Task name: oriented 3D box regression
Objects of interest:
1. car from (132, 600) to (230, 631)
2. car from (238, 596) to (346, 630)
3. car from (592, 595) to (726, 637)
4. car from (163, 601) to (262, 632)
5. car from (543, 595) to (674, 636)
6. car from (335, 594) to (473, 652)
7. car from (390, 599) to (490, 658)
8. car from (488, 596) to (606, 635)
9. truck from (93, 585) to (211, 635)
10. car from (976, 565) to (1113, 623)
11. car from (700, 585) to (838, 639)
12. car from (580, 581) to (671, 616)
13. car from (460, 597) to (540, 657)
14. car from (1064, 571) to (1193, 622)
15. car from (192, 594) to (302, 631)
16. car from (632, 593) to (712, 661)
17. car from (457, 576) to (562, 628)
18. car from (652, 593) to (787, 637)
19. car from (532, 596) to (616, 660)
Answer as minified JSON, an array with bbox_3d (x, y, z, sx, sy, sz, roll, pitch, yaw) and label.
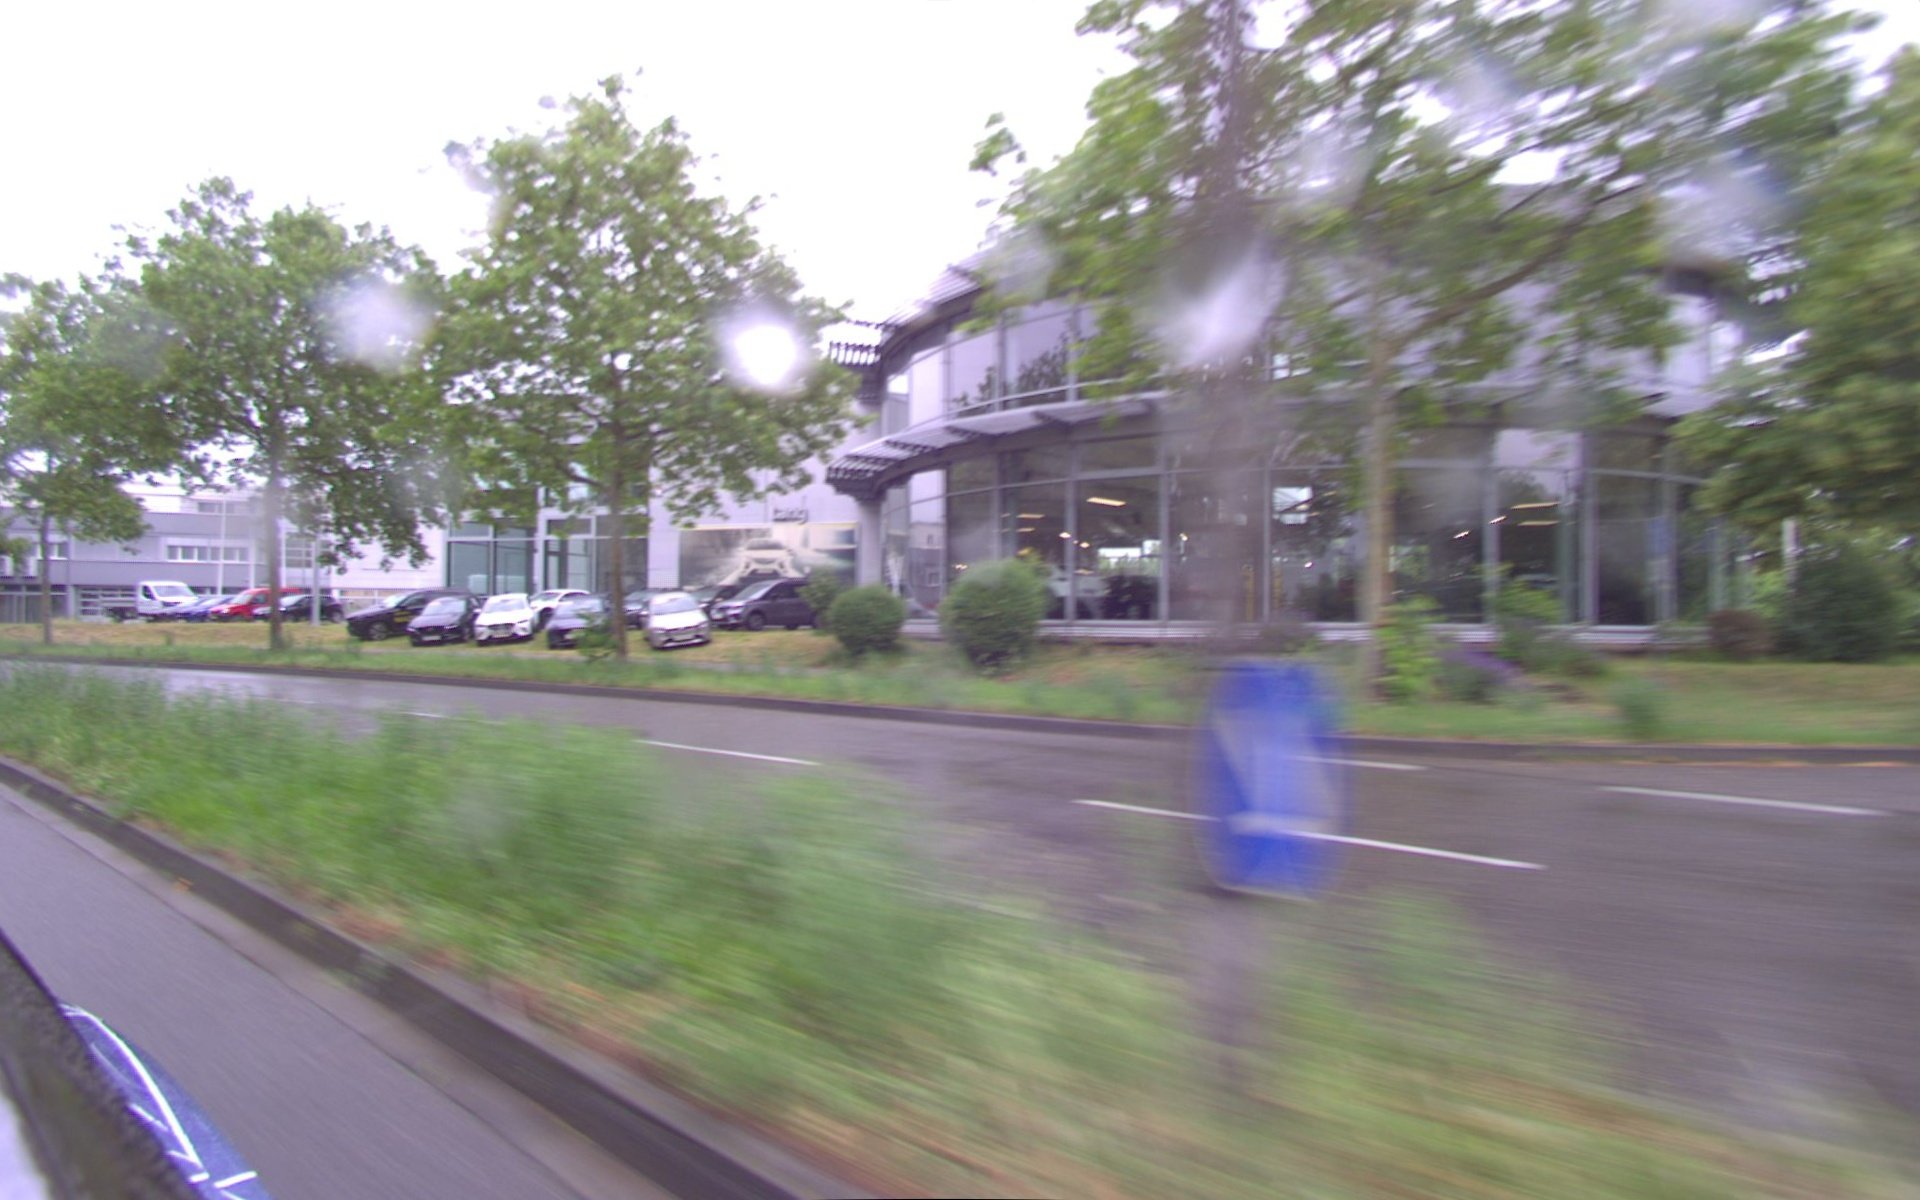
[{"bbox_3d":[-39.399,0.787,51.290,1.756,1.336,3.509,-2,1,22],"label":"car"},{"bbox_3d":[-32.051,0.606,48.708,1.835,1.367,3.980,-2,1,22],"label":"car"},{"bbox_3d":[-11.134,0.579,37.582,4.368,1.485,1.922,0,-1,-42],"label":"car"},{"bbox_3d":[-37.115,0.805,50.324,1.756,1.336,3.509,-2,1,22],"label":"car"},{"bbox_3d":[-13.428,0.565,38.774,4.368,1.485,1.922,0,-1,-42],"label":"car"},{"bbox_3d":[-21.274,0.811,38.805,4.364,1.567,1.853,-8,6,-33],"label":"car"},{"bbox_3d":[-18.349,0.943,35.916,1.818,1.489,4.140,-5,6,-9],"label":"car"},{"bbox_3d":[-16.309,0.608,40.179,1.905,1.485,4.407,-1,-1,20],"label":"car"},{"bbox_3d":[-43.071,0.546,53.948,6.155,2.362,2.237,-2,1,24],"label":"truck"},{"bbox_3d":[2.258,-0.131,28.100,1.754,1.487,4.125,0,-1,-30],"label":"car"},{"bbox_3d":[-6.605,0.398,35.211,4.368,1.751,1.922,0,-1,-42],"label":"car"},{"bbox_3d":[-14.976,-0.049,45.581,1.901,1.485,4.417,-1,-1,13],"label":"car"},{"bbox_3d":[-15.683,0.869,34.696,1.817,1.489,4.143,-6,6,-16],"label":"car"},{"bbox_3d":[5.180,-0.061,31.696,1.754,1.487,4.125,0,-1,-30],"label":"car"},{"bbox_3d":[-34.769,0.577,49.456,1.835,1.568,3.980,-2,1,22],"label":"car"},{"bbox_3d":[-8.620,0.740,30.078,1.754,1.486,4.014,-6,6,-21],"label":"car"},{"bbox_3d":[-25.266,0.099,56.760,5.246,2.773,2.178,-1,0,-26],"label":"car"},{"bbox_3d":[-8.608,0.511,36.487,4.368,1.485,1.922,0,-1,-42],"label":"car"},{"bbox_3d":[-12.176,0.827,32.163,1.817,1.432,4.142,-6,6,-13],"label":"car"}]
